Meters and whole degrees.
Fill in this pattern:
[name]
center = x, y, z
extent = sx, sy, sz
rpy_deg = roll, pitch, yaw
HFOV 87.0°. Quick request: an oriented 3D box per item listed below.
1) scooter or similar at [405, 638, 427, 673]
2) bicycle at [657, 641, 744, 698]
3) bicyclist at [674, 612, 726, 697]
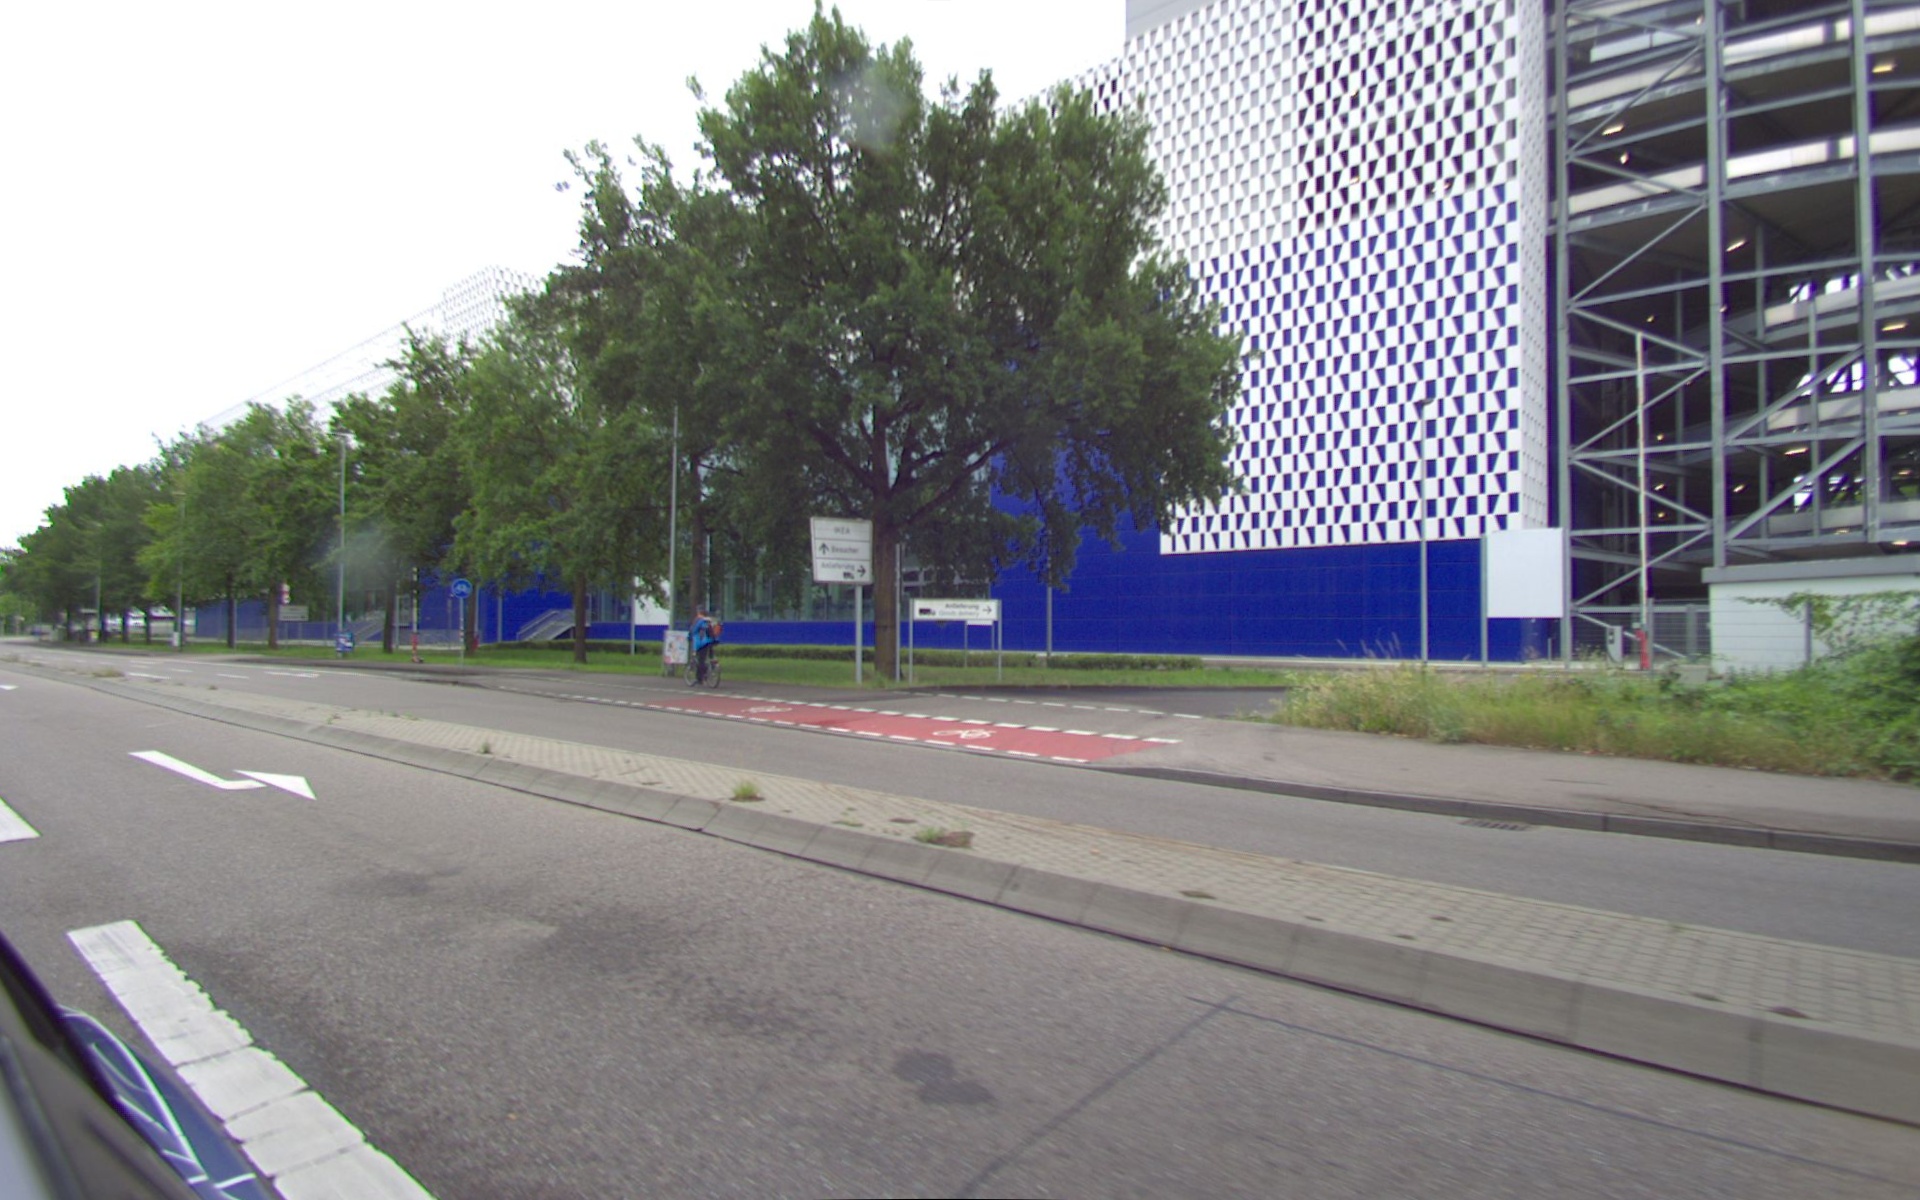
[scooter or similar]
center = -21.233, 2.145, 39.480
extent = 0.441, 1.332, 1.508
rpy_deg = 2, -3, -39
[bicycle]
center = -5.966, 1.559, 23.181
extent = 2.369, 1.196, 0.705
rpy_deg = -1, -1, 41
[bicyclist]
center = -5.963, 1.224, 23.172
extent = 1.019, 1.888, 0.694
rpy_deg = -1, -1, 41
